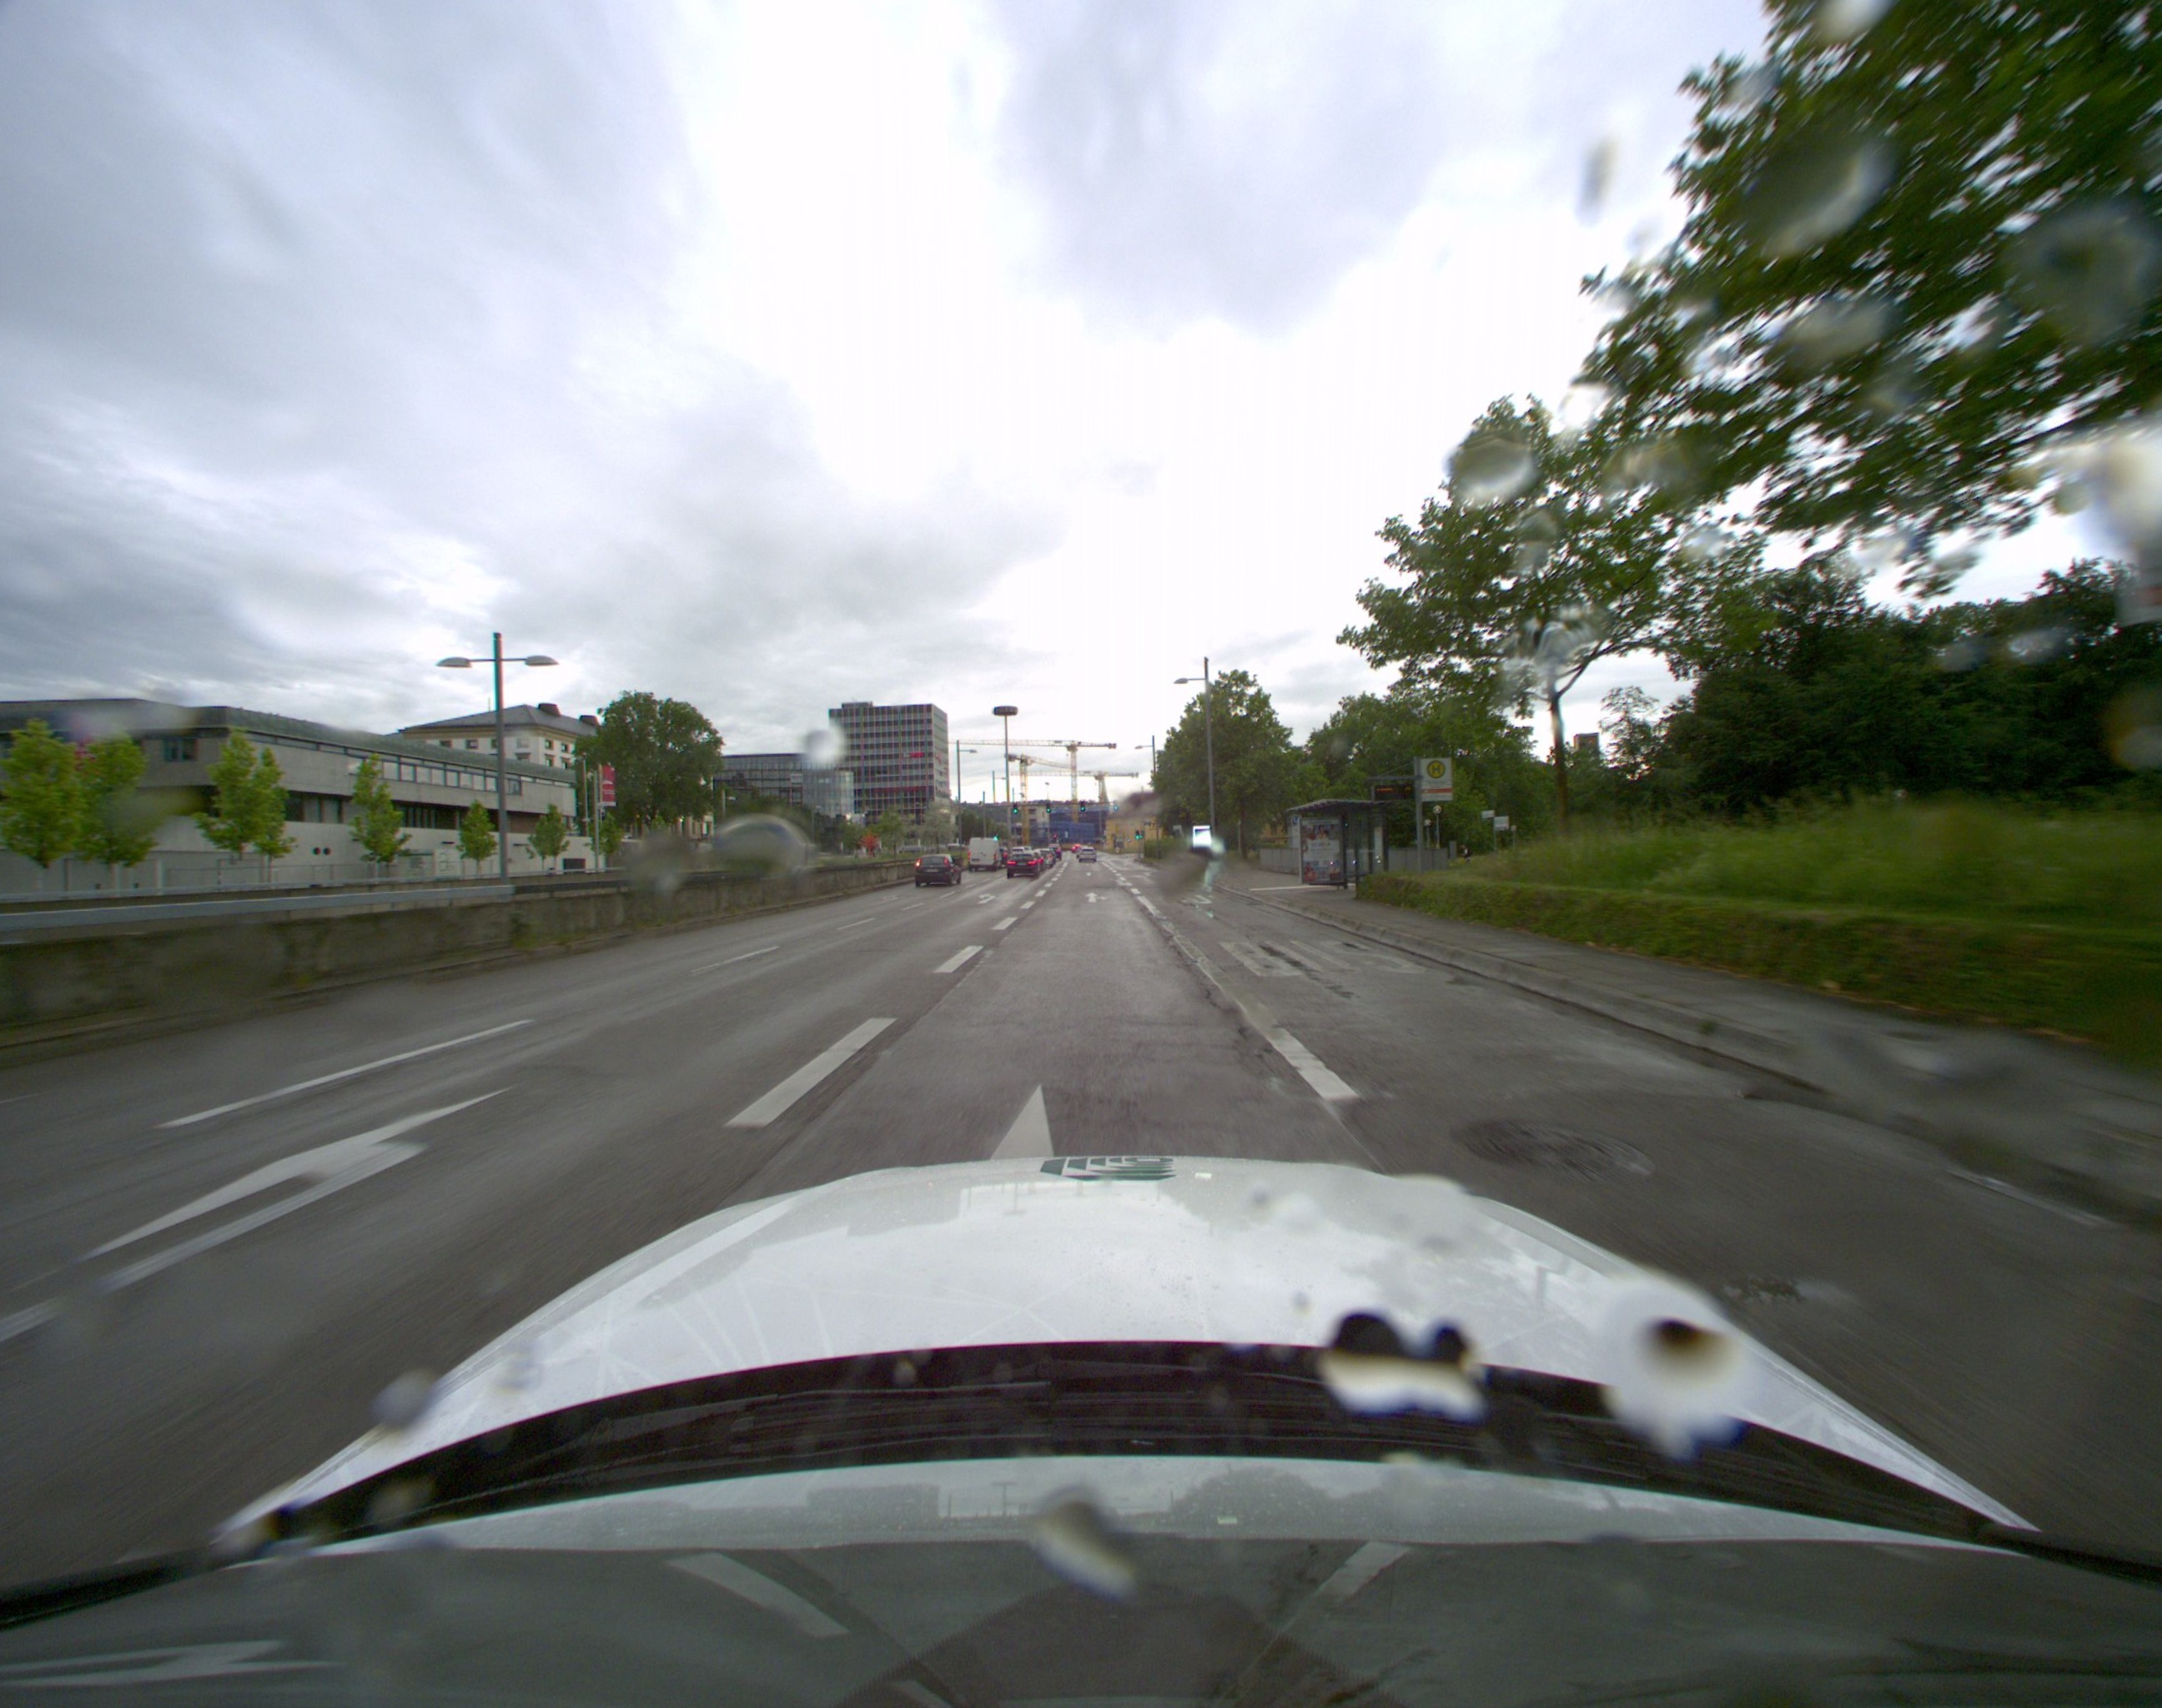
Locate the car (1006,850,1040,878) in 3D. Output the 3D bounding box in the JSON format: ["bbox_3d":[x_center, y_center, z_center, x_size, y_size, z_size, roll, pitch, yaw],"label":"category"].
[{"bbox_3d":[-3.345,0.553,47.444,1.748,1.471,4.221,-1,1,-1],"label":"car"}]

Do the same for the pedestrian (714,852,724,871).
[{"bbox_3d":[-40.367,0.865,90.783,0.764,2.090,0.726,-1,5,-1],"label":"pedestrian"}]

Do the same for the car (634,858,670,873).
[{"bbox_3d":[-37.492,1.001,71.258,1.402,1.255,3.168,-1,-1,3],"label":"car"}]

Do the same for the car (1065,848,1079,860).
[{"bbox_3d":[-1.532,0.023,138.837,2.152,1.879,3.773,-1,-1,3],"label":"car"}]

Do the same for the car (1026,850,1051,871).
[{"bbox_3d":[-3.328,0.525,64.370,1.876,1.653,3.454,-1,-1,-3],"label":"car"}]

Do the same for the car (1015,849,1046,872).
[{"bbox_3d":[-3.432,0.435,55.923,1.823,1.494,3.400,-1,-1,2],"label":"car"}]

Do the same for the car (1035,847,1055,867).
[{"bbox_3d":[-3.340,0.302,75.646,1.710,1.727,3.494,-1,-1,0],"label":"car"}]

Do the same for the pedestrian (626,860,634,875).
[{"bbox_3d":[-42.508,1.247,76.753,0.465,1.383,0.577,-1,-1,2],"label":"pedestrian"}]

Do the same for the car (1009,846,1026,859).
[{"bbox_3d":[-6.632,-0.132,85.613,1.546,1.260,2.580,-1,-1,0],"label":"car"}]

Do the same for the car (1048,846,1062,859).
[{"bbox_3d":[-2.814,-0.172,88.988,1.488,1.369,3.032,-1,-1,0],"label":"car"}]

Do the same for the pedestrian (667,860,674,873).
[{"bbox_3d":[-43.793,1.327,86.907,0.490,1.423,0.633,-1,-1,1],"label":"pedestrian"}]

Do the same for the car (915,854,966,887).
[{"bbox_3d":[-6.407,0.757,37.520,1.536,1.415,3.903,-1,-1,2],"label":"car"}]

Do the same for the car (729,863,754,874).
[{"bbox_3d":[-37.468,1.591,89.987,1.435,1.114,3.020,-1,-1,0],"label":"car"}]

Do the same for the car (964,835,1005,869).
[{"bbox_3d":[-6.925,-0.113,59.059,2.284,2.314,5.006,-1,-1,1],"label":"car"}]

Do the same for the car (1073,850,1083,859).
[{"bbox_3d":[-0.389,0.065,96.980,1.072,0.990,1.973,-1,-2,3],"label":"car"}]

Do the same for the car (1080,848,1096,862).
[{"bbox_3d":[0.695,0.153,81.595,1.438,1.359,2.414,-1,-1,3],"label":"car"}]

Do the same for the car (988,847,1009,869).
[{"bbox_3d":[-6.612,0.322,65.434,1.460,1.706,3.139,-1,-1,-2],"label":"car"}]
